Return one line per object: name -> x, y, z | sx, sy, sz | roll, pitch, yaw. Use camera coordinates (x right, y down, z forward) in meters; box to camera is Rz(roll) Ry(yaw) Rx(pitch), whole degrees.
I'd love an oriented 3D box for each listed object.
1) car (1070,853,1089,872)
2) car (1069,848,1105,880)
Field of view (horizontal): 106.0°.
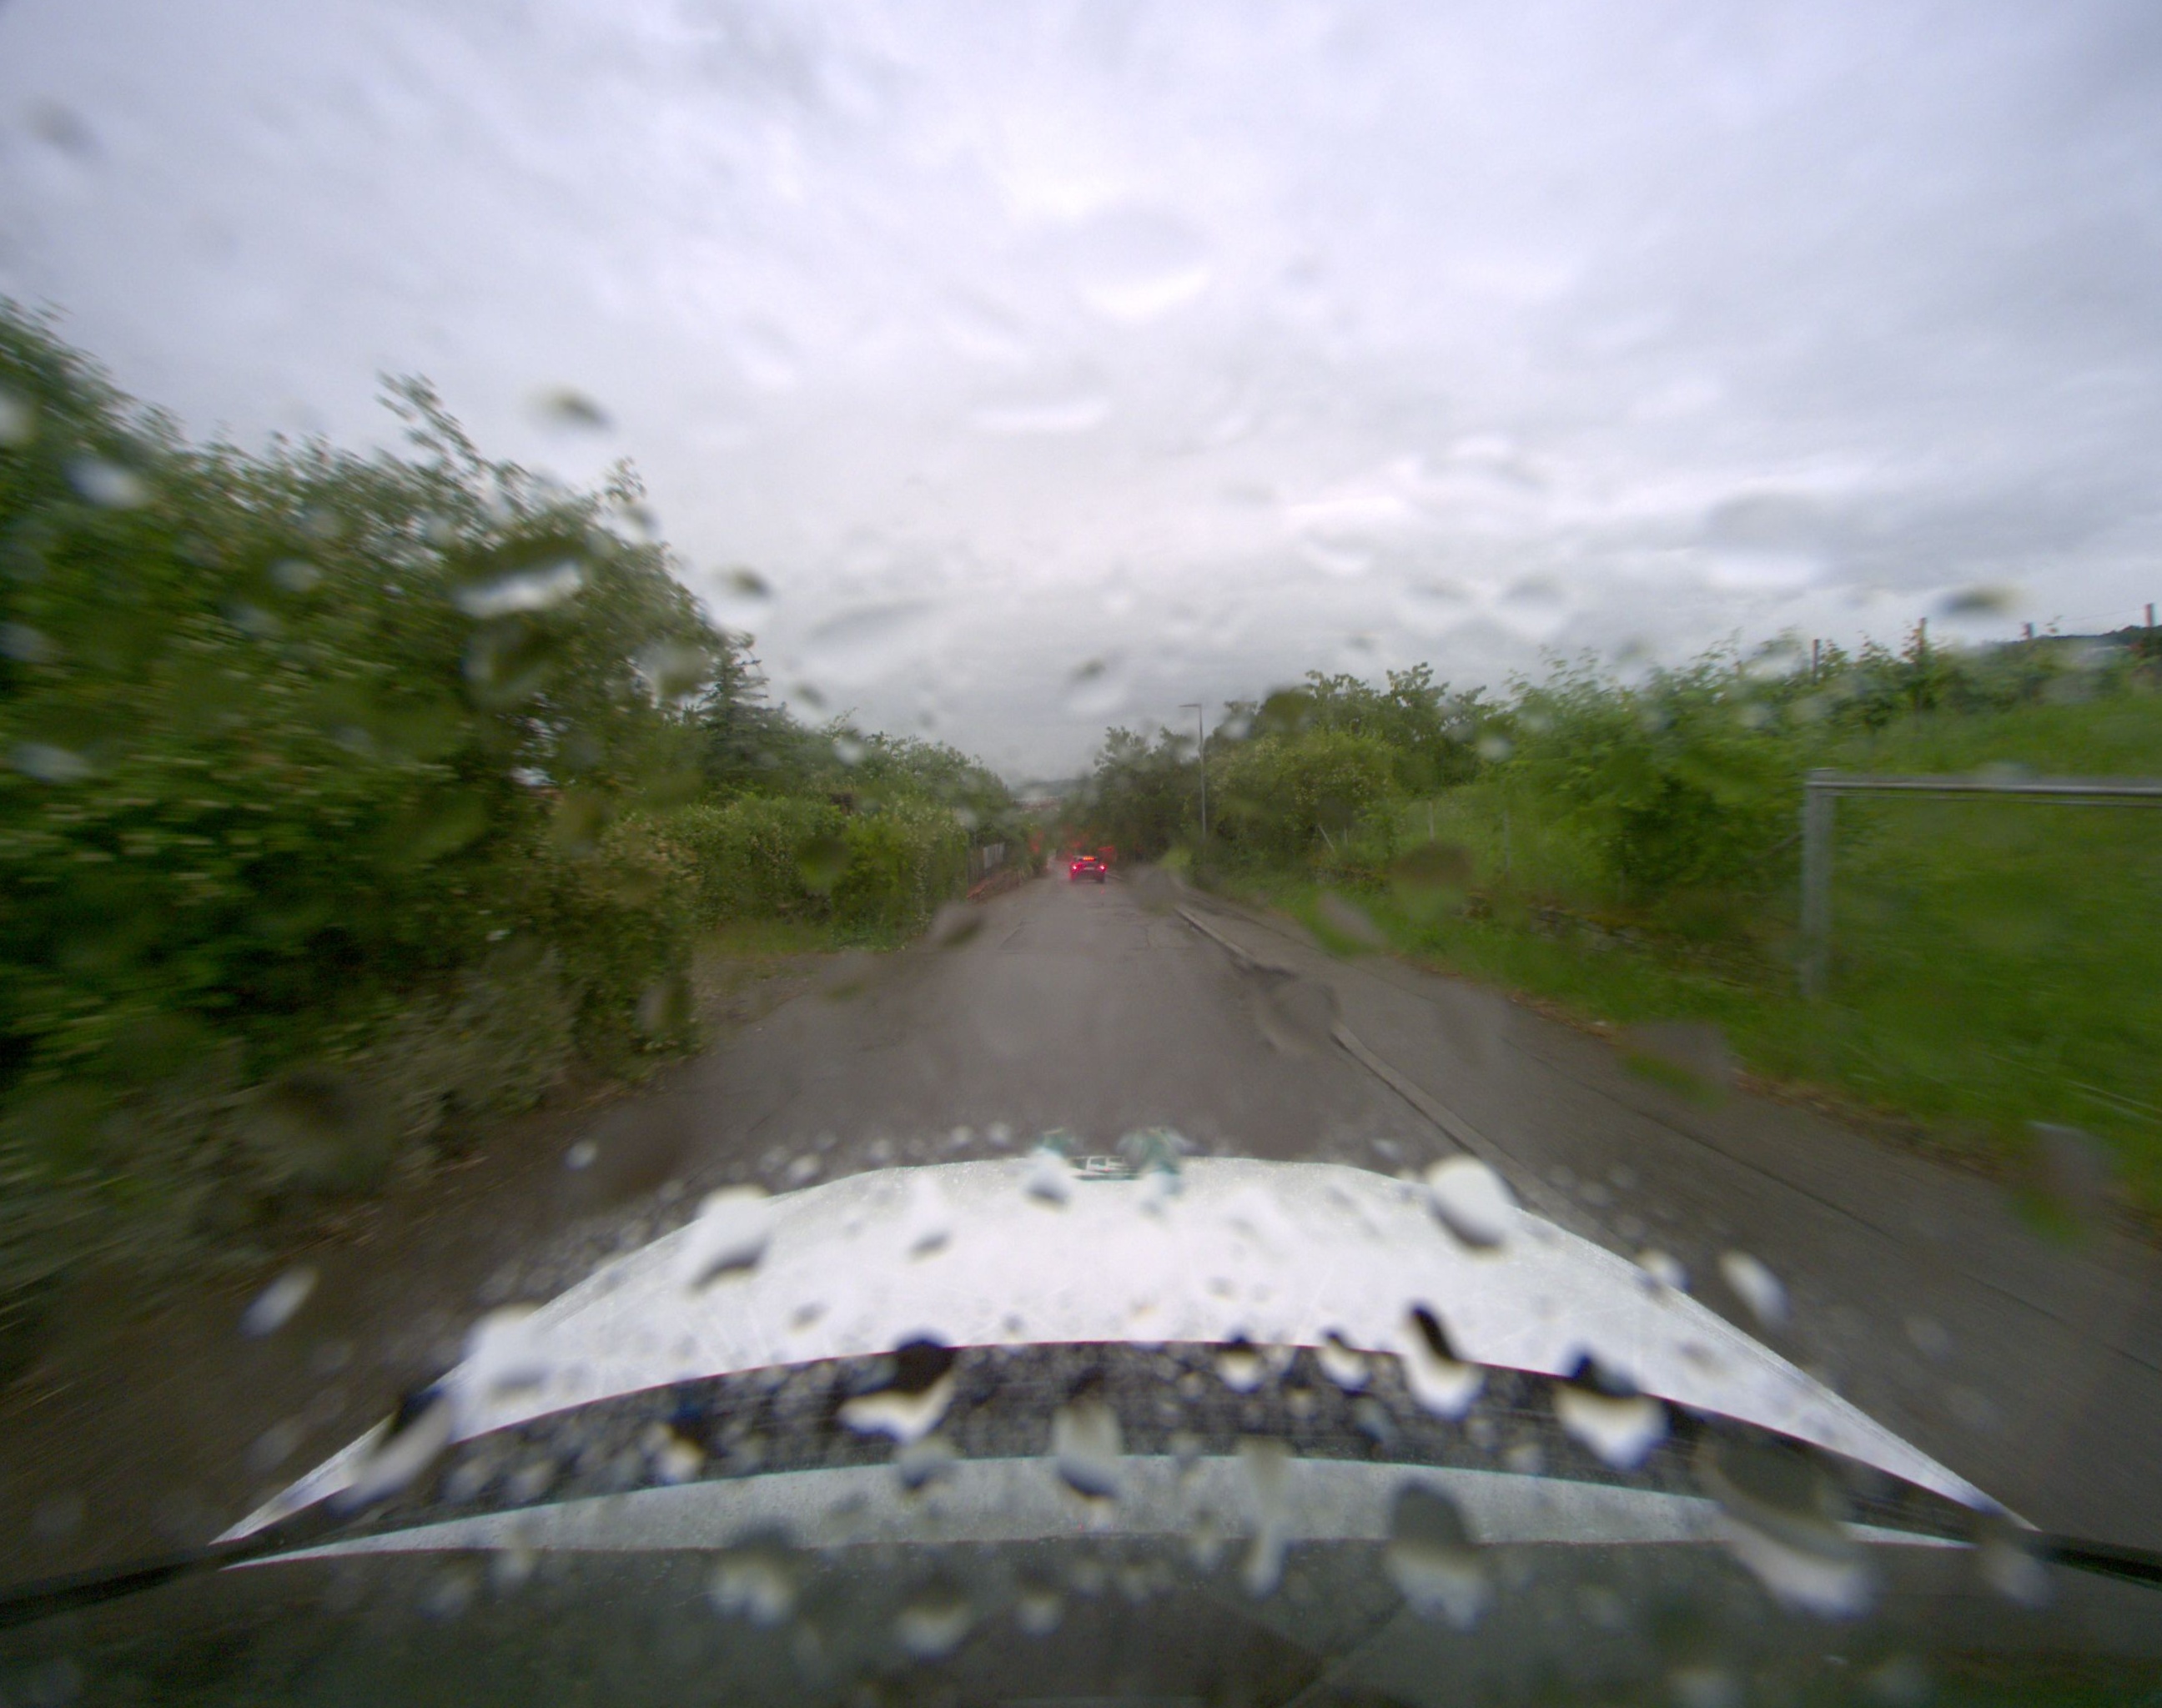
car -> -0.131, 0.785, 75.758 | 1.672, 1.565, 3.795 | -2, 2, 1
car -> 0.289, 0.501, 44.362 | 1.829, 1.464, 3.999 | -3, 1, -1
